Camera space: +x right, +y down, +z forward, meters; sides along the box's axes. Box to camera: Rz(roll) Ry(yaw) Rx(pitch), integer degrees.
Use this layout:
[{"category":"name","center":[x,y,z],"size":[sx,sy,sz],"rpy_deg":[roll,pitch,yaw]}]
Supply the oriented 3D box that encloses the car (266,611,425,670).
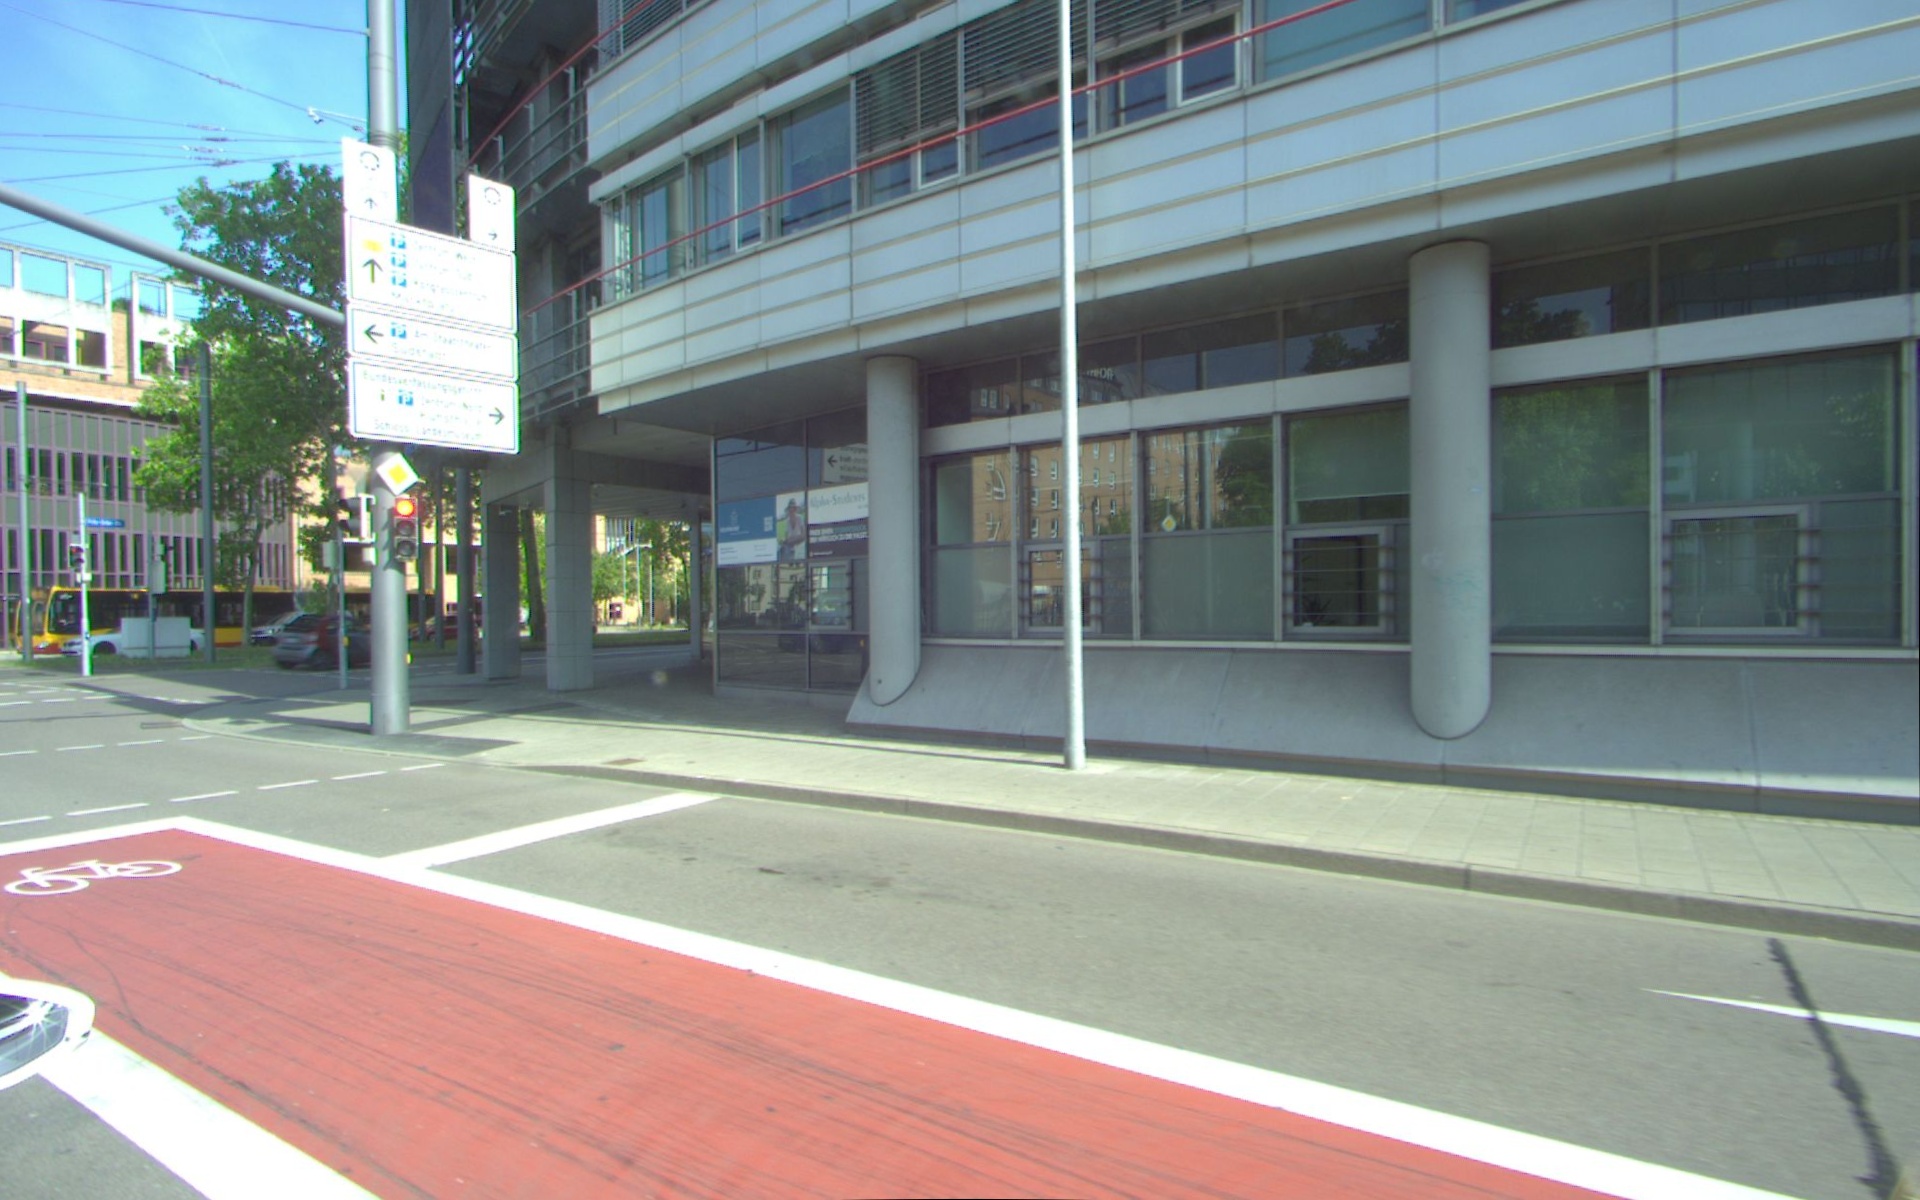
[{"category":"car","center":[-17.731,1.124,29.063],"size":[1.675,1.512,3.589],"rpy_deg":[2,1,28]}]

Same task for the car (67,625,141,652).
[{"category":"car","center":[-33.250,1.473,38.910],"size":[1.078,0.970,1.947],"rpy_deg":[-1,0,32]}]

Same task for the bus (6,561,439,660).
[{"category":"bus","center":[-33.716,0.524,47.976],"size":[2.818,3.859,17.617],"rpy_deg":[-2,-1,24]}]
